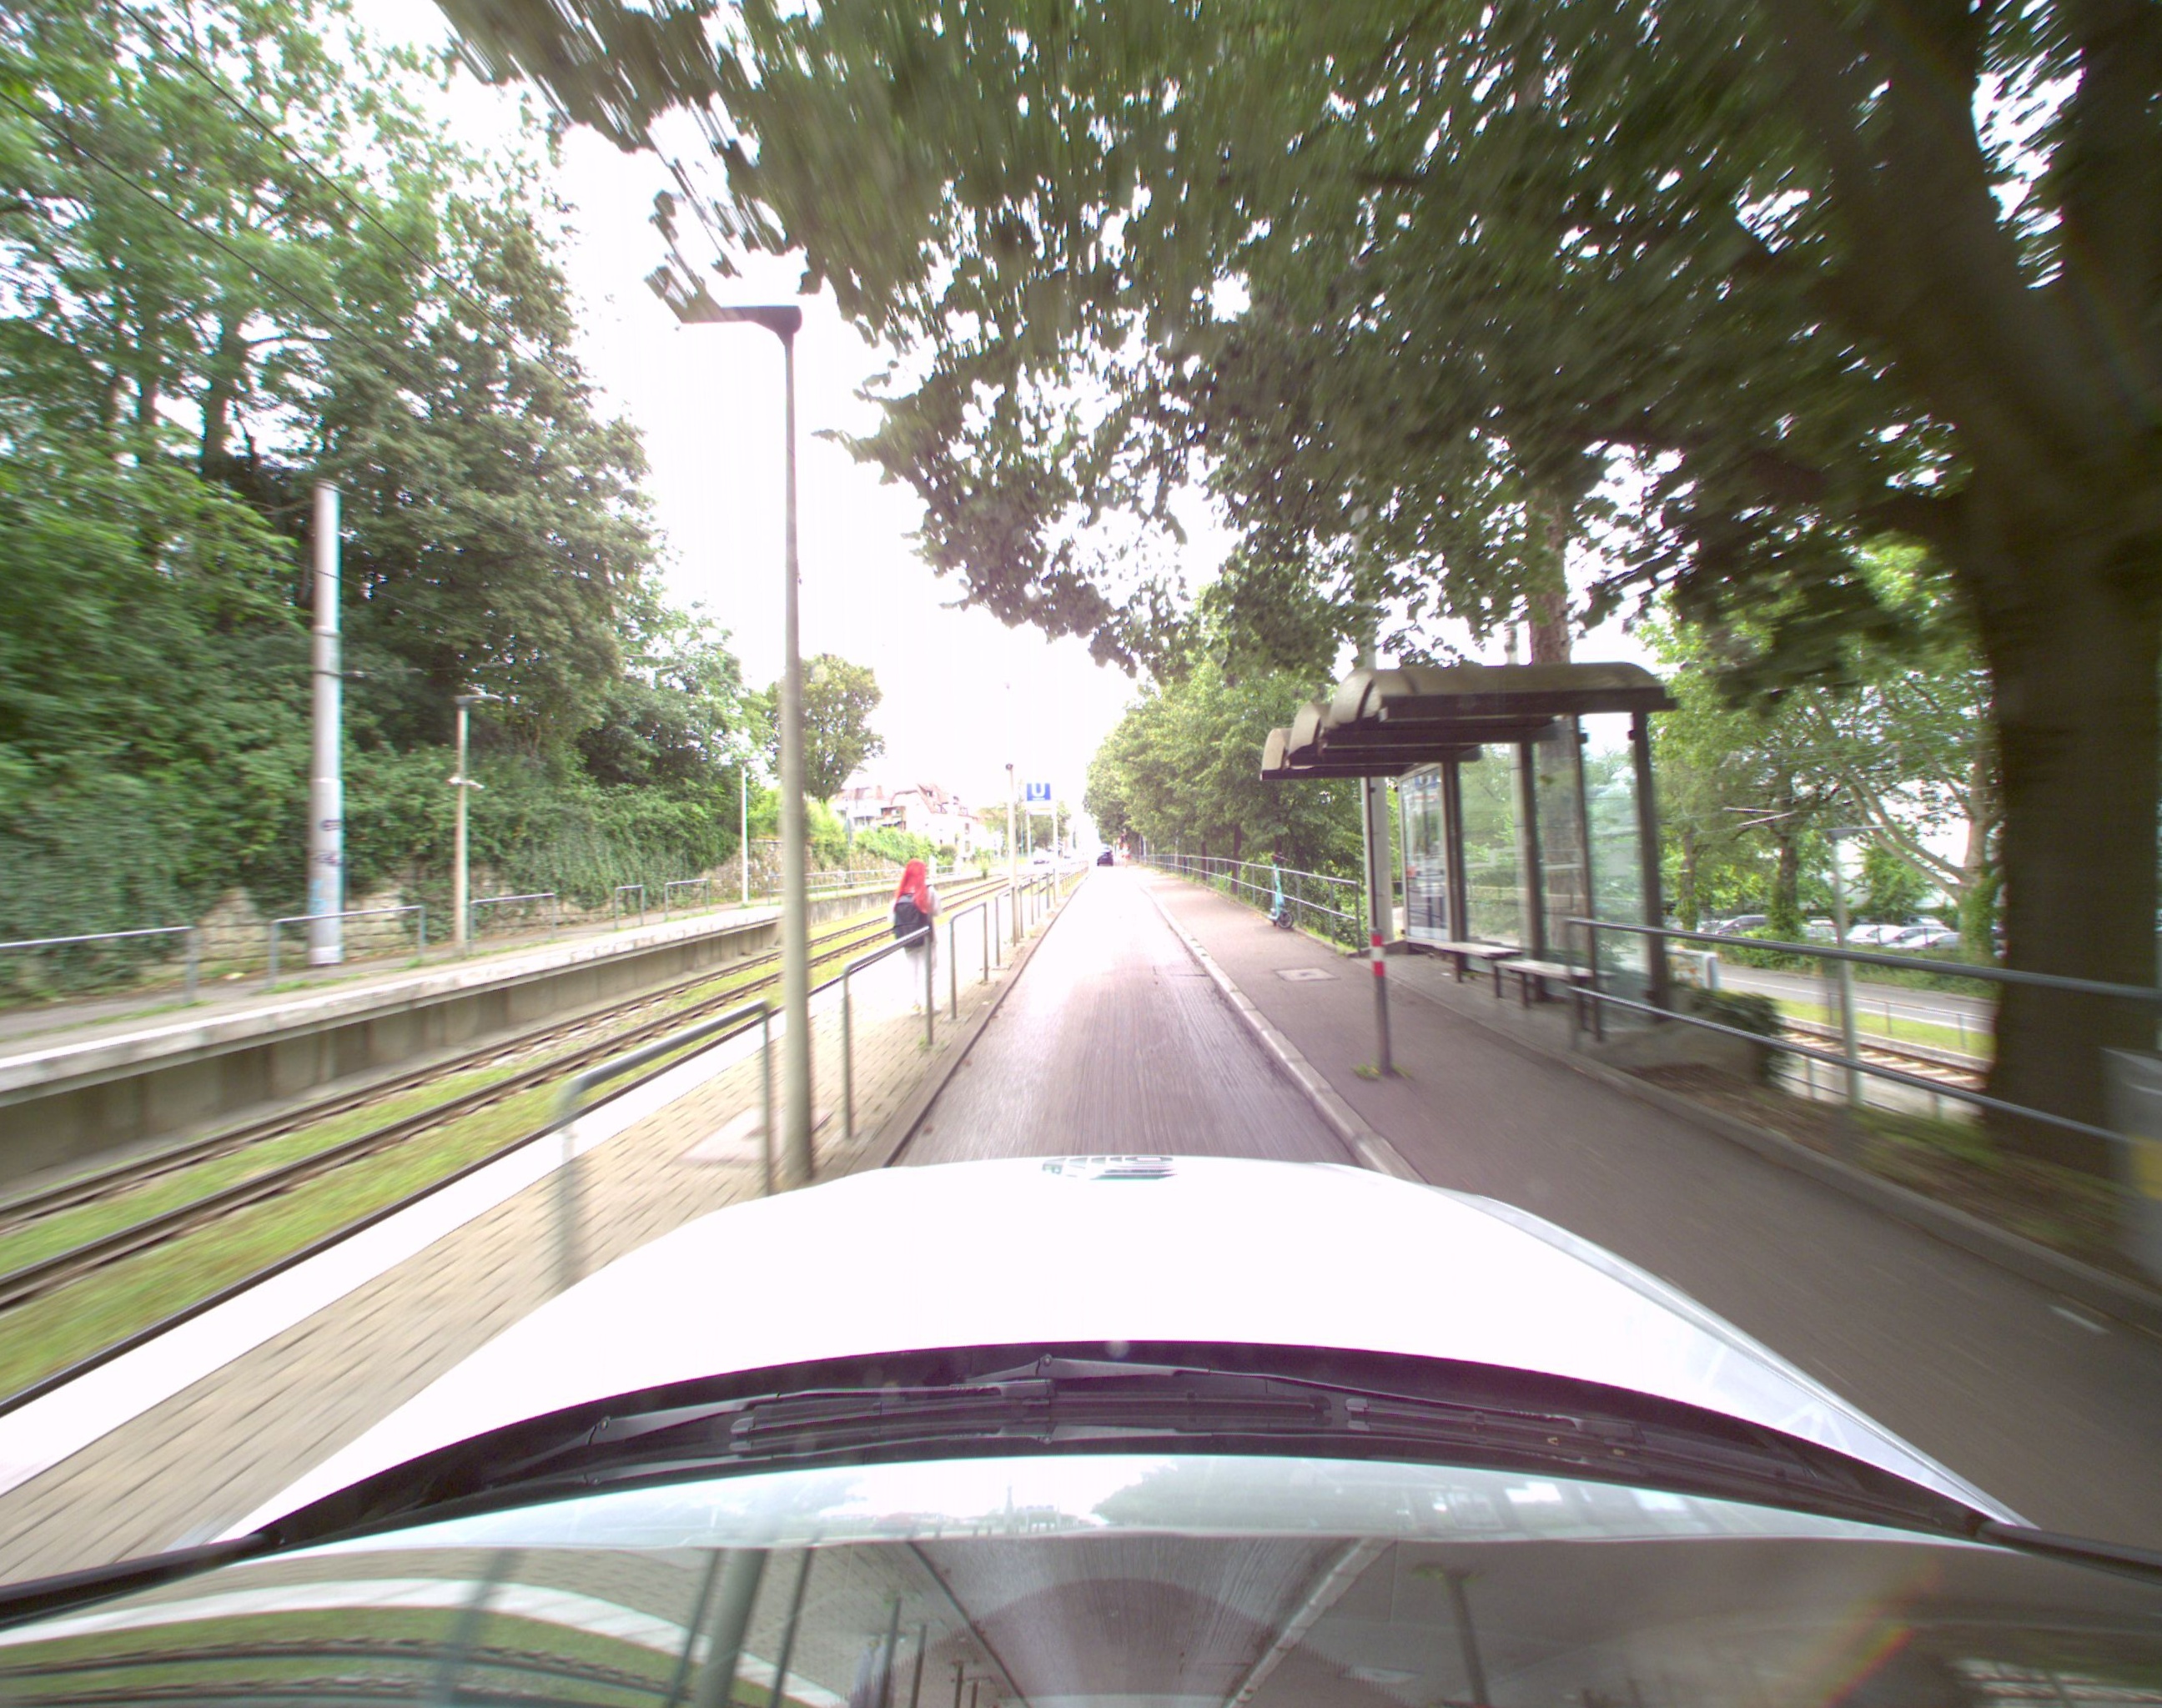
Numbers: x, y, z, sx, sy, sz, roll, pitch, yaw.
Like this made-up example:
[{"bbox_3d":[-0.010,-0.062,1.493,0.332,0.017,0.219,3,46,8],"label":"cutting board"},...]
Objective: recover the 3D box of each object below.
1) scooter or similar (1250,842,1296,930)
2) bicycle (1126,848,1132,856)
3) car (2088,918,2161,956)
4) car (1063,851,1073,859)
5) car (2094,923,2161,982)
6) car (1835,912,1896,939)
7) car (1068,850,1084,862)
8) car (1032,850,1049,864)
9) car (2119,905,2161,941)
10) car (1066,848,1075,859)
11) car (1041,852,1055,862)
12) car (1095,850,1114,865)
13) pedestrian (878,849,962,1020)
[{"bbox_3d":[3.190,0.508,13.629,0.428,1.384,1.456,-1,-1,2],"label":"scooter or similar"},{"bbox_3d":[6.494,-0.287,110.022,0.427,0.976,1.790,-1,-1,-8],"label":"bicycle"},{"bbox_3d":[54.221,4.165,40.812,4.286,1.717,2.013,-2,-1,35],"label":"car"},{"bbox_3d":[-3.082,0.327,197.145,1.985,1.808,4.003,-1,-1,3],"label":"car"},{"bbox_3d":[37.983,3.285,27.494,4.538,1.792,2.006,-1,-1,10],"label":"car"},{"bbox_3d":[53.565,4.864,55.719,1.974,1.468,4.370,-2,-1,30],"label":"car"},{"bbox_3d":[-0.646,0.291,105.690,1.986,1.498,4.313,-1,-1,2],"label":"car"},{"bbox_3d":[-5.747,0.479,116.517,2.029,1.881,4.885,-4,-1,1],"label":"car"},{"bbox_3d":[63.865,4.072,48.195,1.974,1.811,4.025,-2,-1,36],"label":"car"},{"bbox_3d":[-2.672,-0.008,211.640,2.223,2.764,5.798,-1,-1,0],"label":"car"},{"bbox_3d":[-5.257,0.507,130.889,1.878,1.526,4.665,-3,0,2],"label":"car"},{"bbox_3d":[2.622,0.403,90.531,1.896,1.615,4.604,0,0,3],"label":"car"},{"bbox_3d":[-1.480,0.709,7.582,0.623,1.502,0.739,-1,1,-2],"label":"pedestrian"}]
